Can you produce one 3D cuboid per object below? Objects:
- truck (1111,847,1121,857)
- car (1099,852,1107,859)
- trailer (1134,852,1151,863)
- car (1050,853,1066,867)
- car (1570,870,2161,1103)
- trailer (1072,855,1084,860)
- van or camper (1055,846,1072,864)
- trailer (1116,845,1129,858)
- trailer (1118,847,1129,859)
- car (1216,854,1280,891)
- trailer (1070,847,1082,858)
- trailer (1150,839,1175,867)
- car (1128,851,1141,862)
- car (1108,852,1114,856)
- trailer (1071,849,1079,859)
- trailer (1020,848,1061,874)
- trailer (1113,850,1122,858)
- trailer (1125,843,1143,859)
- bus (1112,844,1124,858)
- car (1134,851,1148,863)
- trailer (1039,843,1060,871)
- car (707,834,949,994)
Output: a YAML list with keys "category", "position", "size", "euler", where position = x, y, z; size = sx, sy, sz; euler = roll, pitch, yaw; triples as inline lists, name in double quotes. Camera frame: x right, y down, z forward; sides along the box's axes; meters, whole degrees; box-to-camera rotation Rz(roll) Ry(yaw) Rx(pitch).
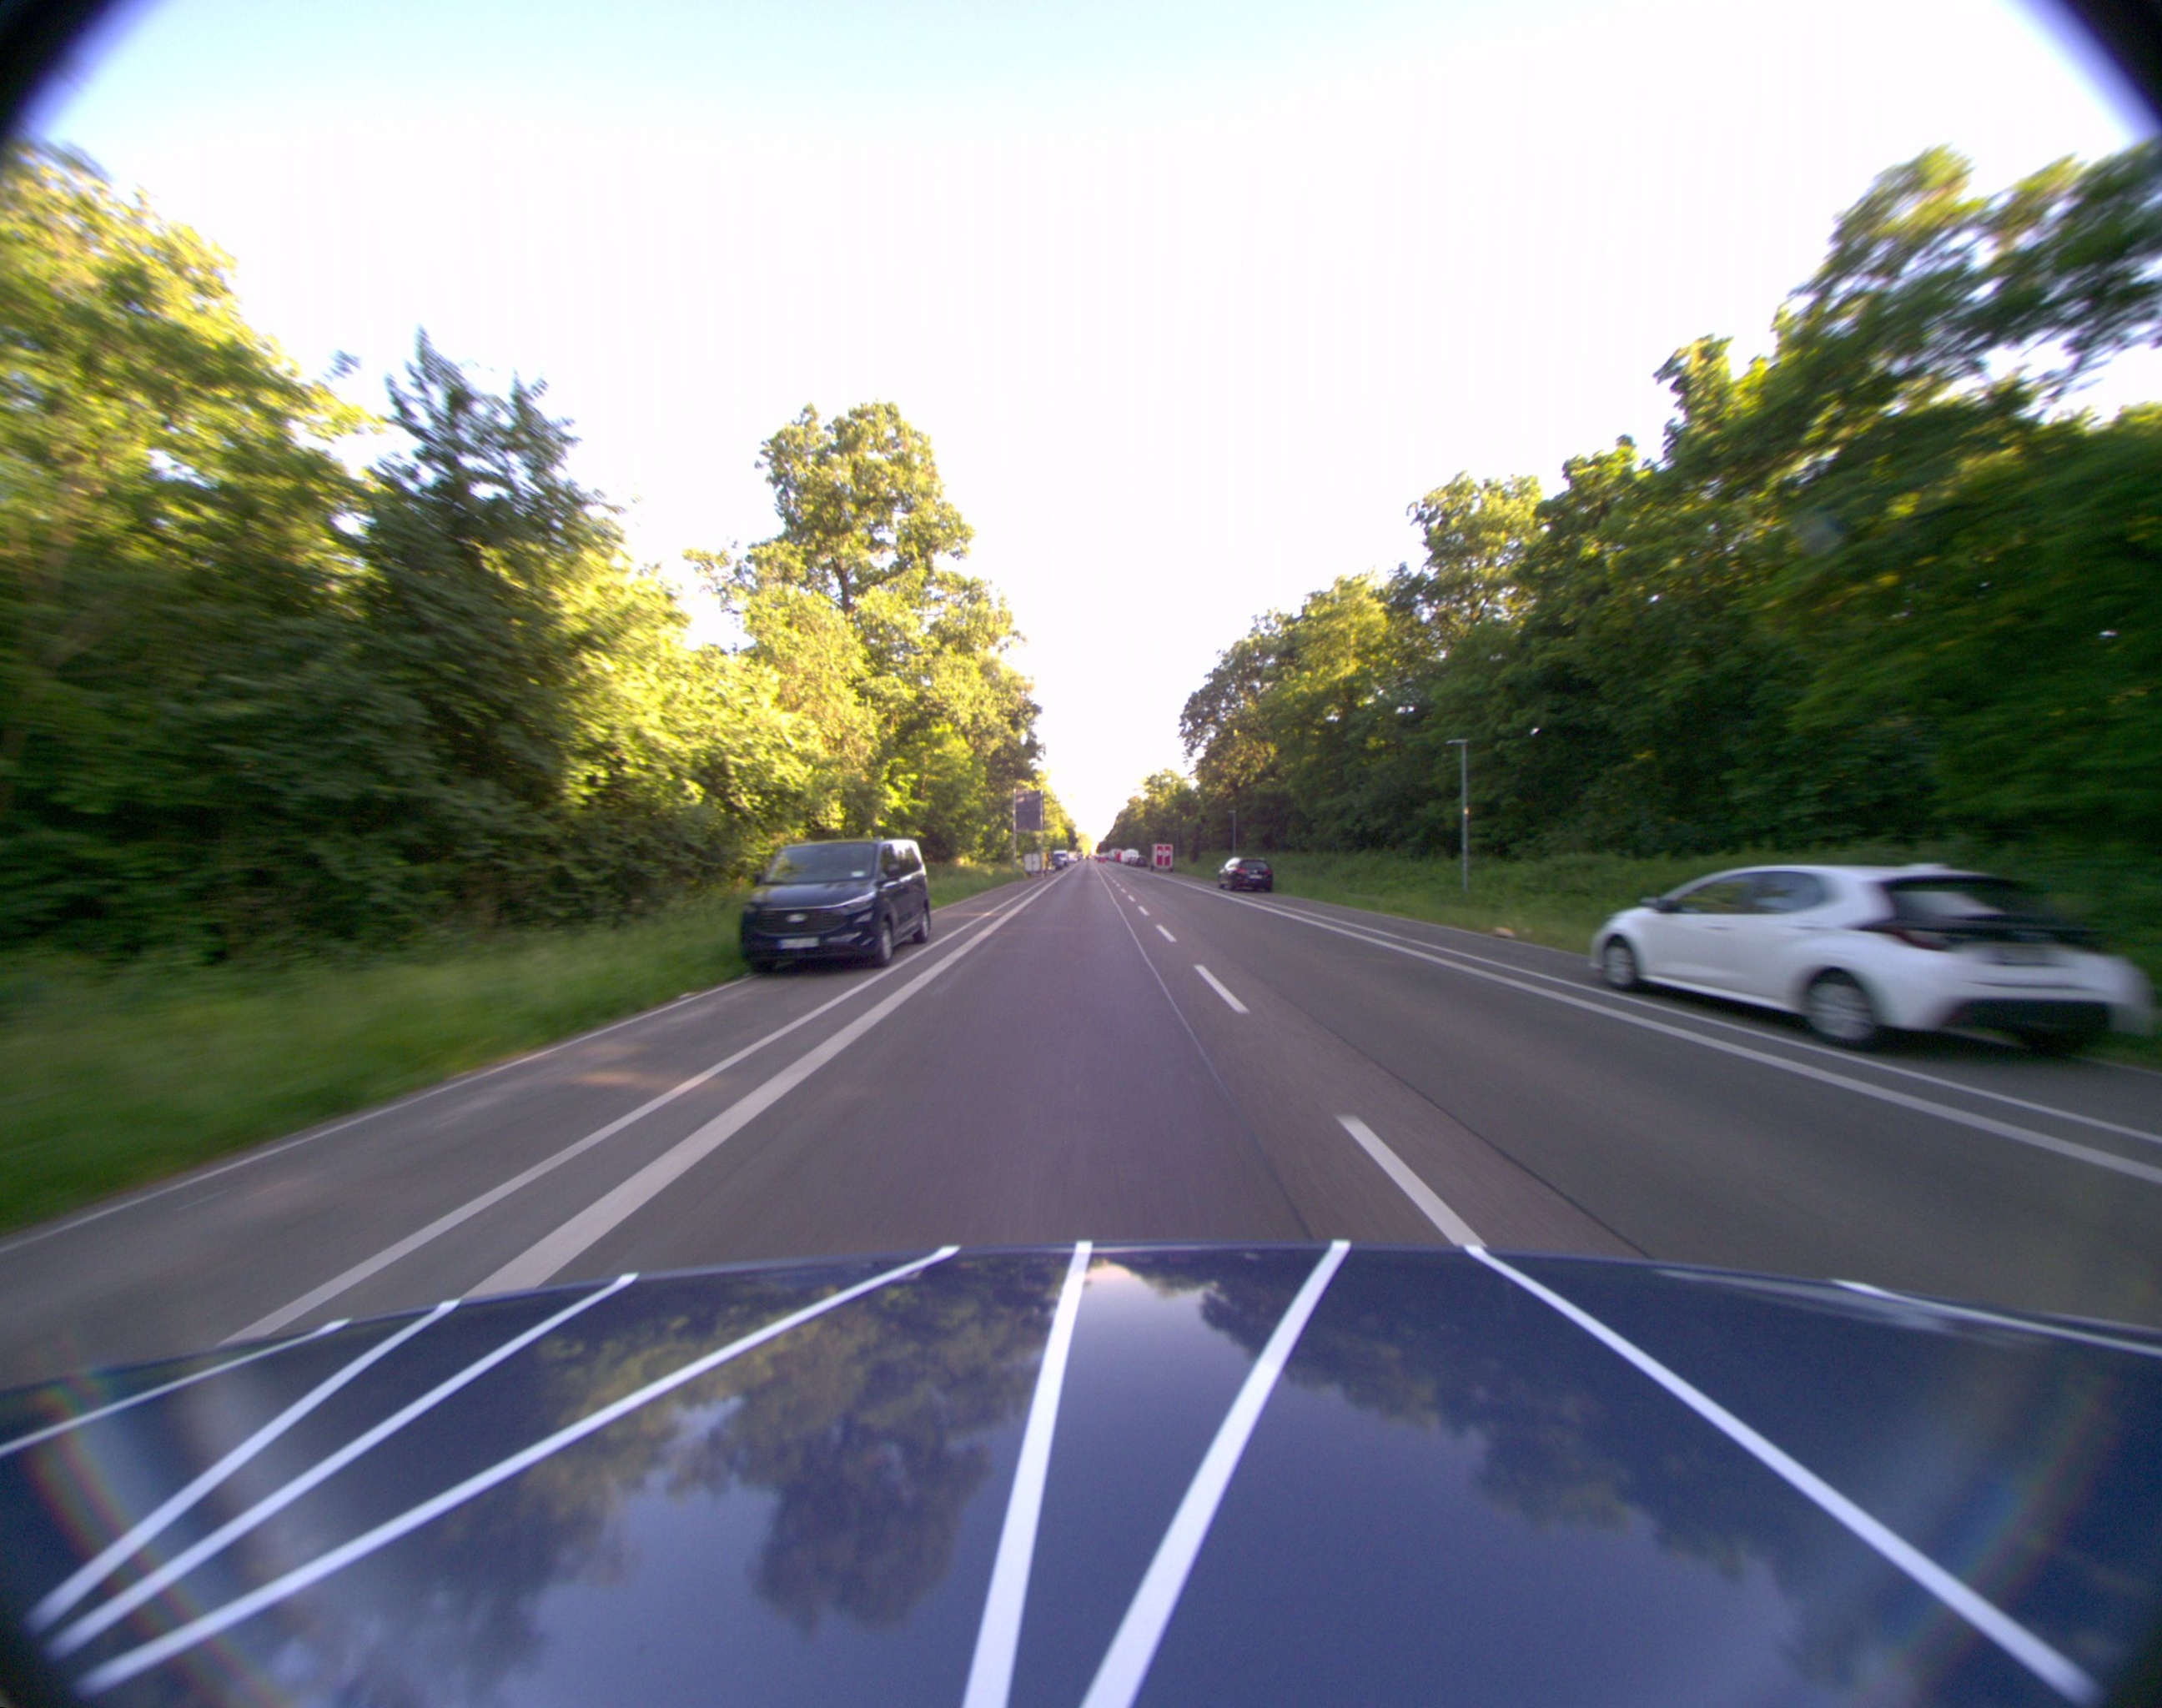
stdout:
- category: "truck"
  position: [9.964, -0.558, 217.349]
  size: [2.489, 2.807, 8.424]
  euler: [-2, 0, 1]
- category: "car"
  position: [4.735, 0.360, 166.183]
  size: [1.608, 1.412, 3.518]
  euler: [0, 0, 1]
- category: "trailer"
  position: [8.258, 0.471, 102.245]
  size: [1.845, 1.457, 4.466]
  euler: [-1, 0, 1]
- category: "car"
  position: [-2.538, 0.661, 84.946]
  size: [1.590, 1.521, 3.011]
  euler: [-3, 0, 1]
- category: "car"
  position: [6.903, 0.957, 7.227]
  size: [1.871, 1.442, 4.071]
  euler: [2, 0, 1]
- category: "trailer"
  position: [-0.706, 0.773, 164.105]
  size: [2.439, 0.794, 5.659]
  euler: [-2, 1, 1]
- category: "van or camper"
  position: [-2.525, 0.142, 110.307]
  size: [2.131, 2.468, 6.305]
  euler: [-1, 0, 2]
- category: "trailer"
  position: [7.899, -0.497, 144.227]
  size: [2.072, 2.466, 3.560]
  euler: [0, 0, -3]
- category: "trailer"
  position: [8.841, -0.233, 158.774]
  size: [2.072, 2.466, 3.560]
  euler: [0, 0, -3]
- category: "car"
  position: [7.351, 0.765, 33.939]
  size: [1.859, 1.456, 4.784]
  euler: [-1, 0, 1]
- category: "trailer"
  position: [-1.220, -0.392, 202.095]
  size: [2.928, 2.825, 9.881]
  euler: [-4, 1, 0]
- category: "trailer"
  position: [7.823, -0.089, 73.234]
  size: [1.998, 2.606, 4.085]
  euler: [-1, 0, 1]
- category: "car"
  position: [8.153, 0.396, 115.311]
  size: [1.675, 1.486, 4.194]
  euler: [2, 1, 1]
- category: "car"
  position: [10.083, 0.058, 253.595]
  size: [1.787, 1.485, 4.001]
  euler: [0, 0, 5]
- category: "trailer"
  position: [-1.454, 0.031, 179.589]
  size: [1.759, 2.149, 3.539]
  euler: [-1, 0, 0]
- category: "trailer"
  position: [-3.297, 0.565, 62.763]
  size: [1.964, 2.011, 3.849]
  euler: [-1, 0, 21]
- category: "trailer"
  position: [8.793, -0.011, 183.485]
  size: [1.857, 2.002, 3.561]
  euler: [2, 0, 1]
- category: "trailer"
  position: [8.426, -0.445, 121.755]
  size: [2.352, 2.514, 4.343]
  euler: [0, 0, -3]
- category: "bus"
  position: [10.070, -0.881, 206.076]
  size: [2.835, 3.411, 11.199]
  euler: [-2, 1, 1]
- category: "car"
  position: [8.613, 0.434, 109.638]
  size: [1.675, 1.565, 5.126]
  euler: [2, 1, 1]
- category: "trailer"
  position: [-2.898, 0.262, 70.364]
  size: [1.617, 2.494, 3.999]
  euler: [-2, 1, 1]
- category: "car"
  position: [-3.770, 0.779, 12.521]
  size: [2.119, 2.002, 5.039]
  euler: [-3, 0, 1]
